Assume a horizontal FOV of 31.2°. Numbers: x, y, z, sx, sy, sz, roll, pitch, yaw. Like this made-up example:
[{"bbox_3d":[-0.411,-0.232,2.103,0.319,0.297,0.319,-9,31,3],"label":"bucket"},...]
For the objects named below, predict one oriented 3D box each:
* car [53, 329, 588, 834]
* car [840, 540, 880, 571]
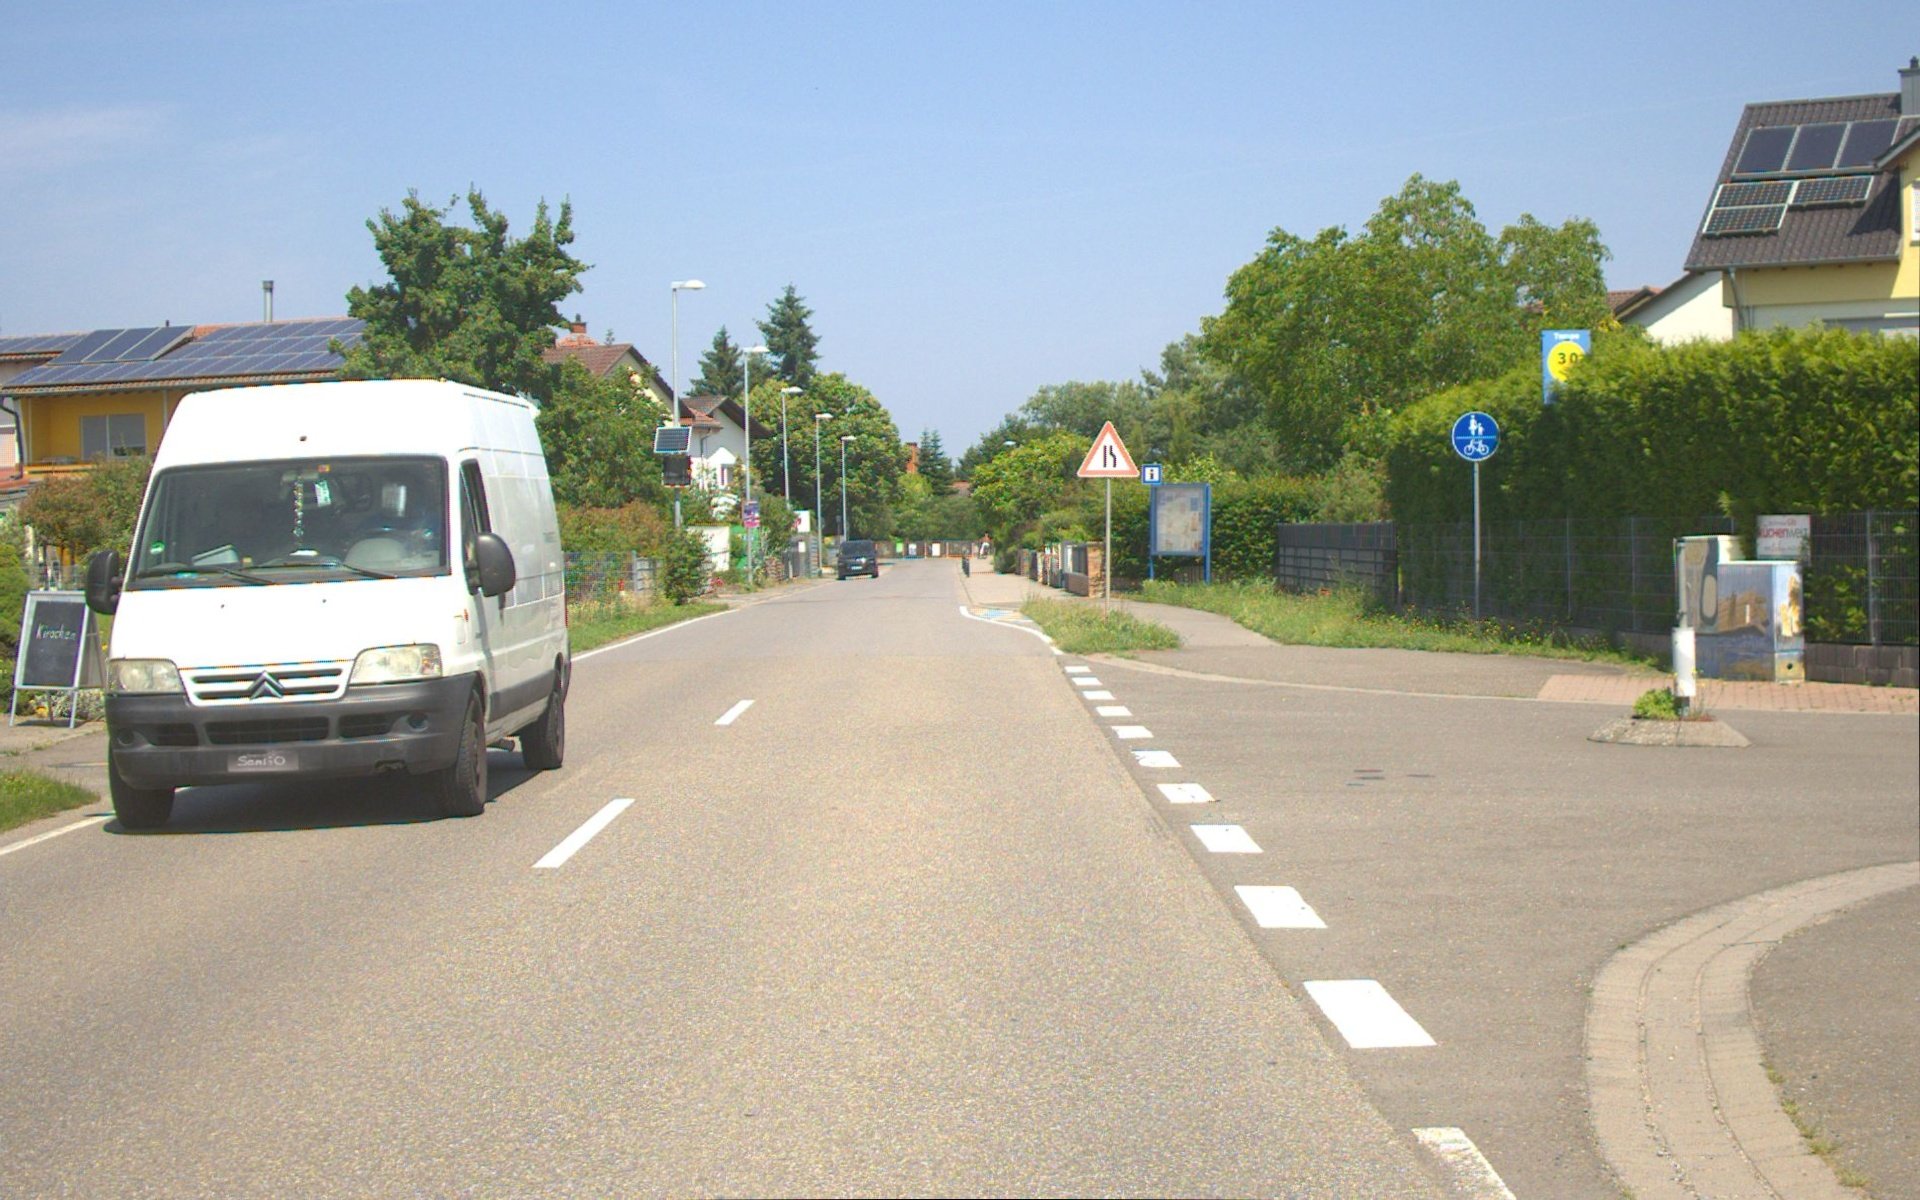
[{"bbox_3d":[-3.617,-0.175,20.696,2.077,2.533,5.874,-2,2,0],"label":"car"},{"bbox_3d":[-4.670,-2.092,160.277,1.759,1.380,3.453,-2,1,-1],"label":"car"}]
